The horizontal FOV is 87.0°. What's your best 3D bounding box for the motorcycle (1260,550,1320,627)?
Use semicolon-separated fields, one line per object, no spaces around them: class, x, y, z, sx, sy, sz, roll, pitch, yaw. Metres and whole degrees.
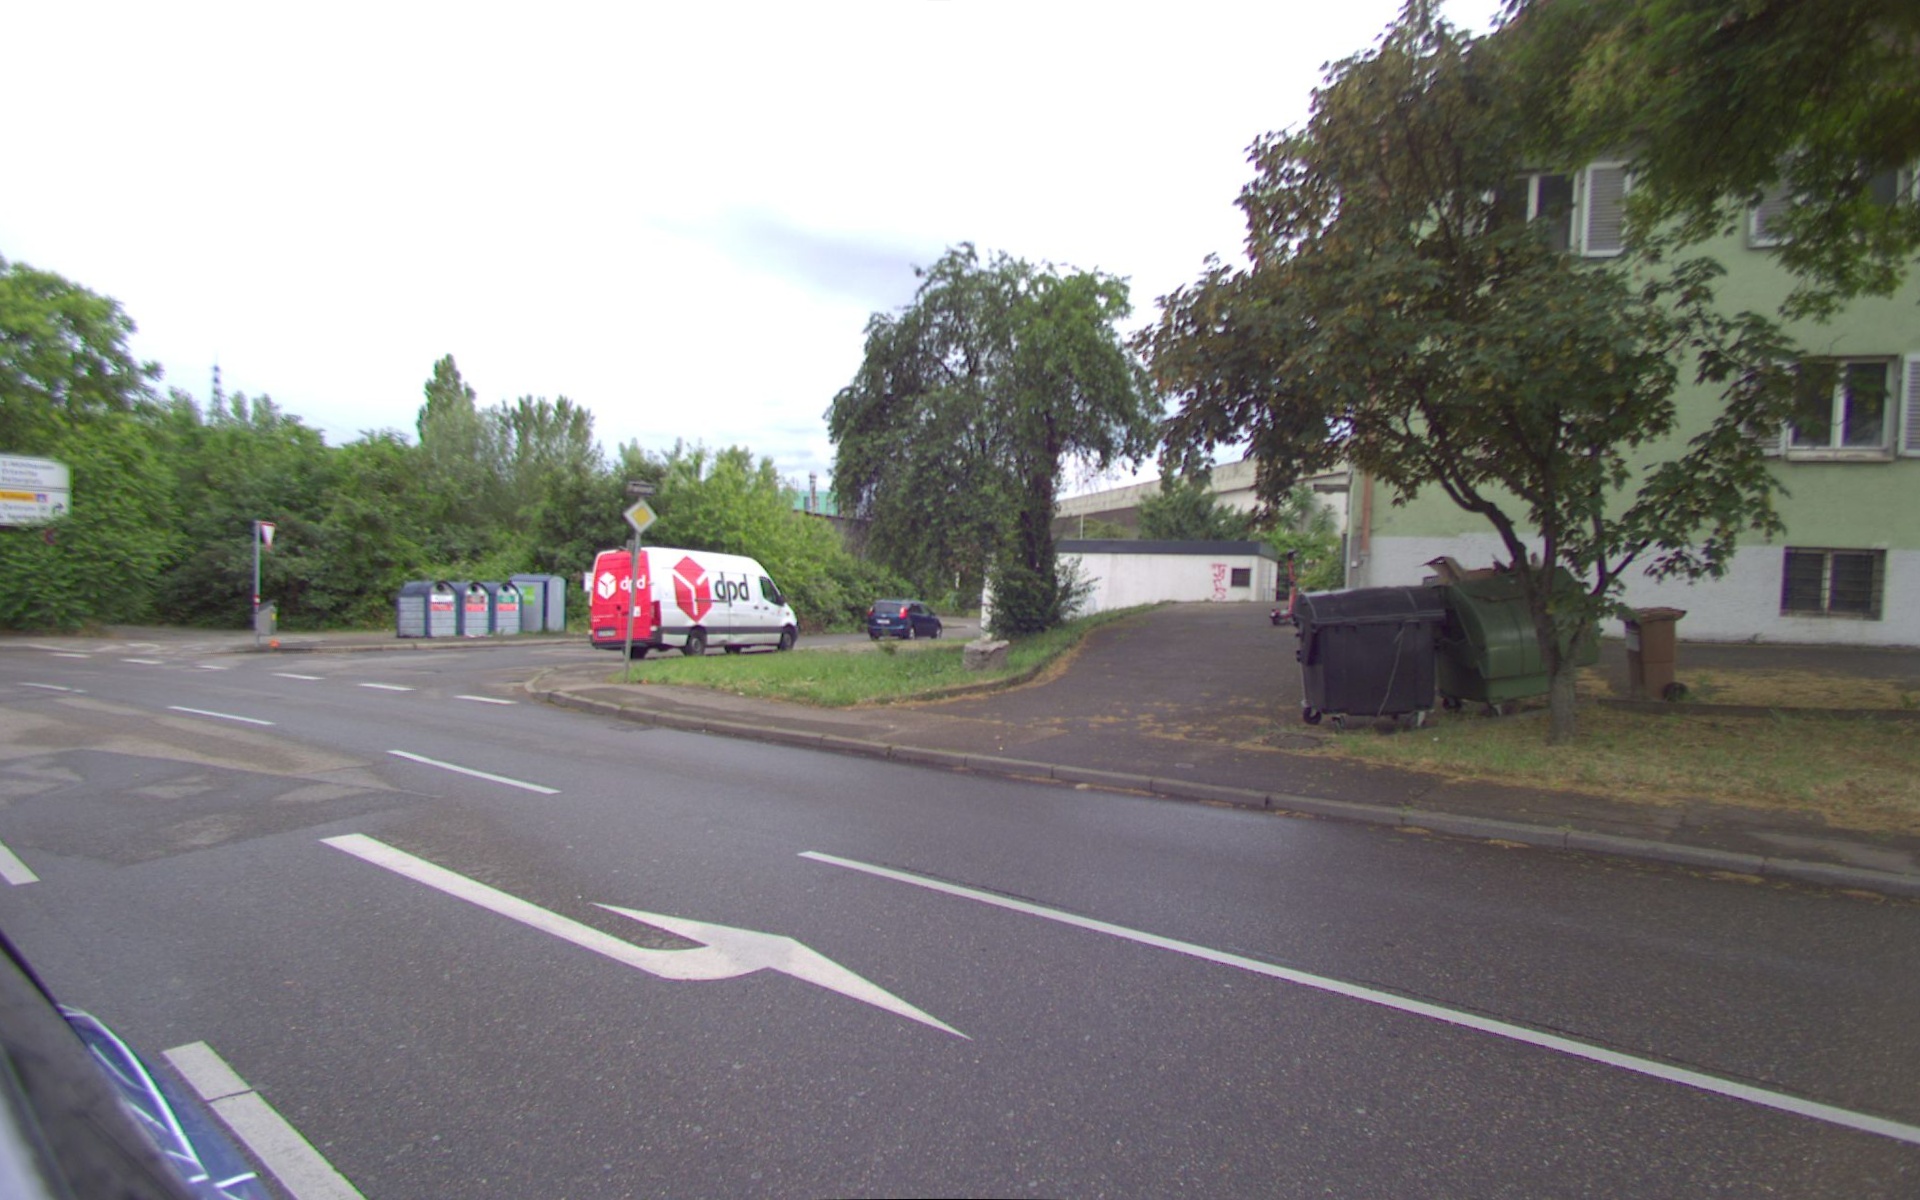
motorcycle;5.632;-0.224;17.237;0.431;1.205;1.463;3;6;40

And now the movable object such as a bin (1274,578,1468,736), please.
movable object such as a bin;4.178;0.545;10.457;1.359;1.452;1.471;-3;0;3

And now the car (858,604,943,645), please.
car;-2.296;0.926;40.287;1.985;1.541;4.042;0;0;20

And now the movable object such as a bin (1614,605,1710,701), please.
movable object such as a bin;7.145;0.526;10.318;0.555;0.917;0.541;-3;0;3

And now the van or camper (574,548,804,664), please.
van or camper;-6.565;0.130;25.661;2.207;2.541;6.651;0;0;20

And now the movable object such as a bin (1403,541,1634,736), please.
movable object such as a bin;5.653;0.368;10.417;1.434;1.774;1.577;-3;0;3
